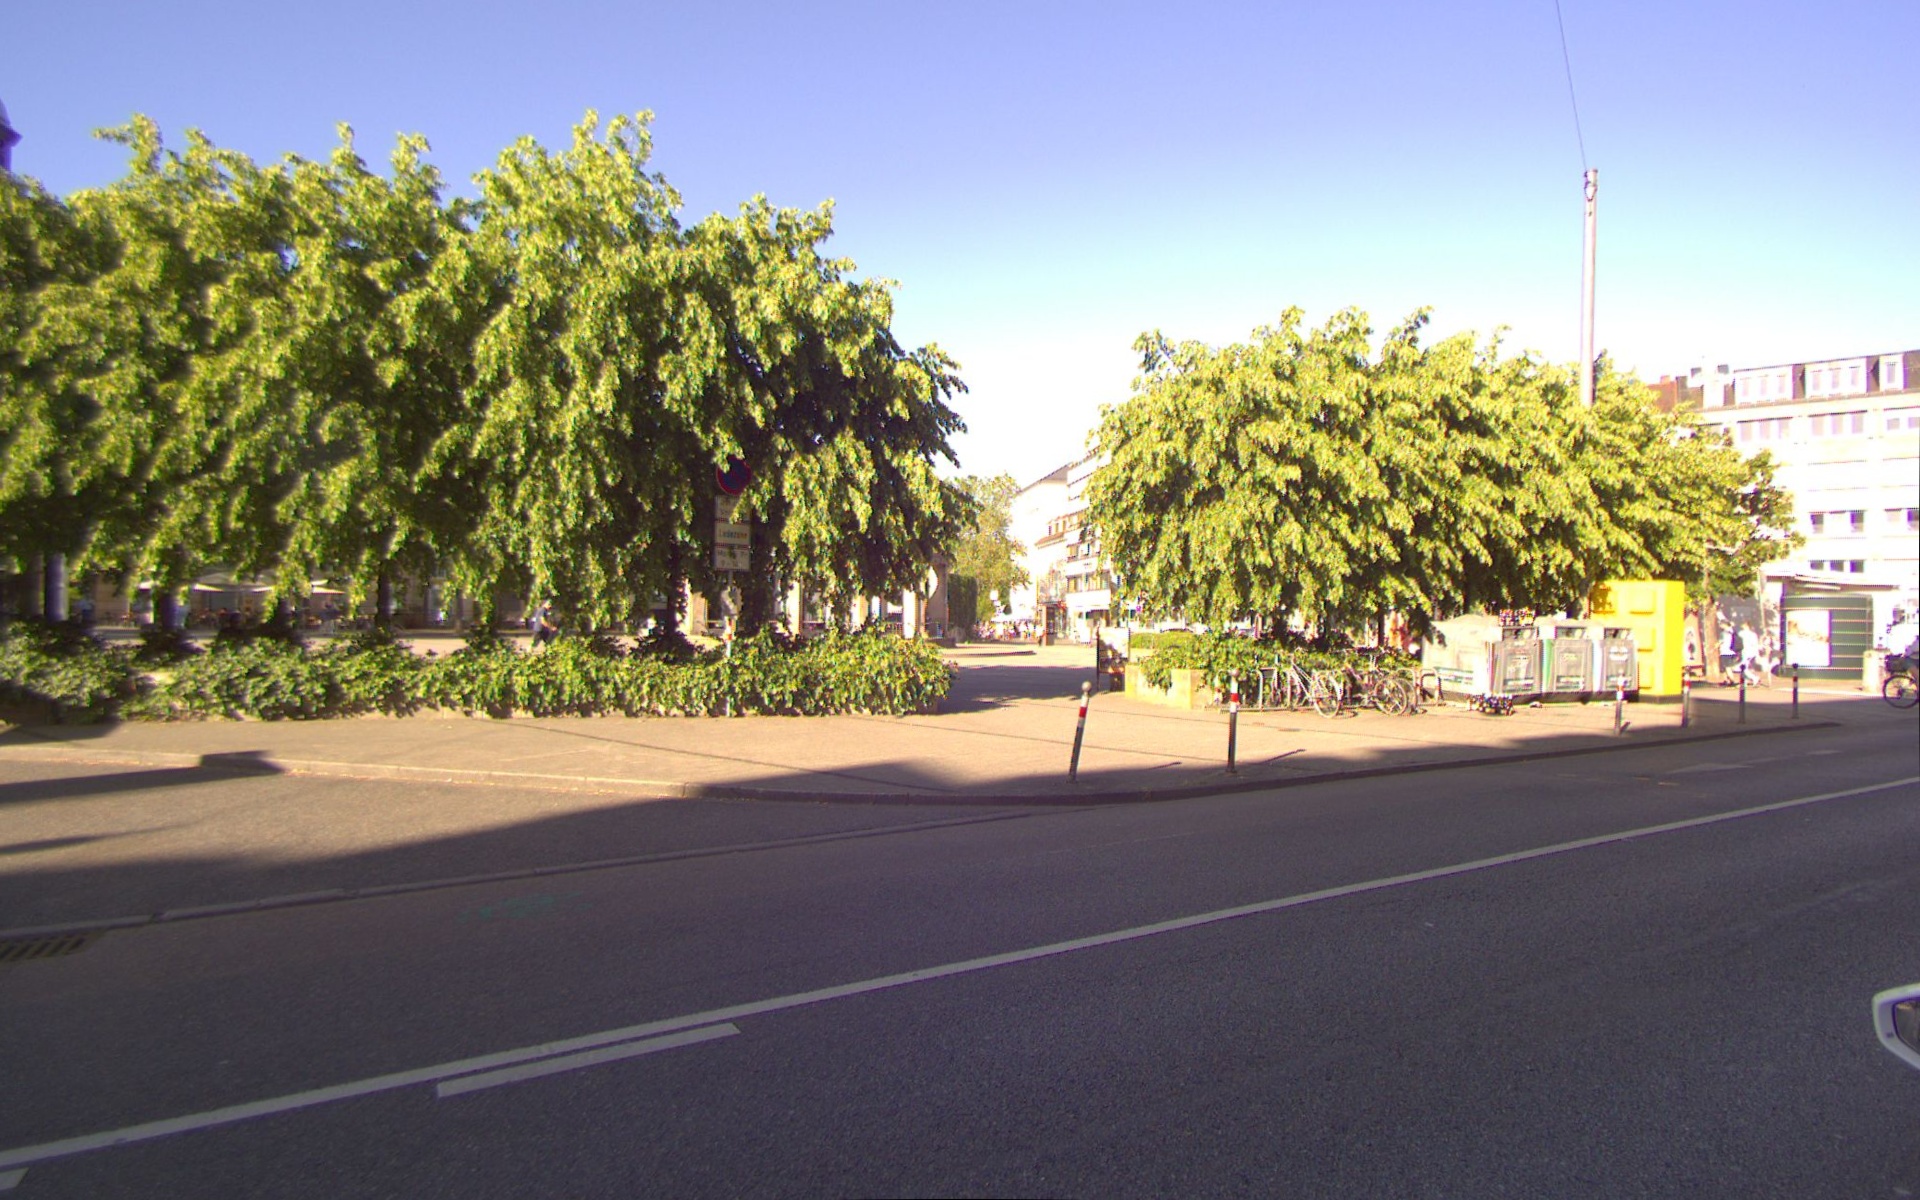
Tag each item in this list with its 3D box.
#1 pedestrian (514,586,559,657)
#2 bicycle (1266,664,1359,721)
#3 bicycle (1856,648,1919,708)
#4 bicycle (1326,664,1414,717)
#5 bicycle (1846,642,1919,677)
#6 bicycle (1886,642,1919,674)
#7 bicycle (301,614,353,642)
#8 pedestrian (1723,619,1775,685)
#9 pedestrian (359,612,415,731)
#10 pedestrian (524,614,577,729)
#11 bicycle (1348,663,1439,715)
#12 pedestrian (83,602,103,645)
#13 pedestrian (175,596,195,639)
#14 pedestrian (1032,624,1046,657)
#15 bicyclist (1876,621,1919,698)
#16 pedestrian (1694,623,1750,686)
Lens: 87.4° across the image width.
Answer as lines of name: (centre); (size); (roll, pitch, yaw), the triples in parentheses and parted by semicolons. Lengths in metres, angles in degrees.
pedestrian: (-10.818, 0.545, 25.694); (0.918, 1.775, 0.728); (1, 0, -15)
bicycle: (5.716, 1.482, 16.376); (0.467, 0.779, 1.653); (1, 0, -20)
bicycle: (20.519, 1.670, 21.434); (0.617, 1.216, 2.127); (1, -1, -13)
bicycle: (6.935, 1.512, 17.058); (0.435, 0.779, 1.469); (2, 0, -25)
bicycle: (32.353, 2.057, 35.009); (0.796, 1.119, 2.073); (1, -1, -30)
bicycle: (34.659, 2.101, 35.981); (0.796, 1.119, 2.073); (1, -1, -30)
bicycle: (-24.716, 1.094, 39.209); (2.018, 1.030, 0.504); (1, 0, 16)
pedestrian: (21.582, 1.413, 27.488); (0.734, 1.748, 0.898); (1, 0, -26)
pedestrian: (-9.282, 1.142, 16.299); (0.722, 1.881, 0.578); (1, 0, -28)
pedestrian: (-6.916, 1.191, 16.967); (0.574, 1.881, 0.598); (1, 0, 41)
bicycle: (7.438, 1.511, 17.293); (0.468, 0.779, 1.468); (2, 0, -27)
pedestrian: (-37.222, 0.998, 43.112); (0.597, 1.816, 0.576); (2, 0, -40)
pedestrian: (-33.684, 0.764, 43.651); (0.597, 1.816, 0.575); (2, 0, -44)
pedestrian: (4.972, 2.566, 63.141); (0.670, 2.040, 0.579); (1, 0, -23)
bicyclist: (20.505, 1.268, 21.541); (0.617, 1.610, 1.098); (1, -1, -13)
pedestrian: (20.688, 1.453, 27.277); (0.727, 1.658, 0.983); (1, 0, -26)
